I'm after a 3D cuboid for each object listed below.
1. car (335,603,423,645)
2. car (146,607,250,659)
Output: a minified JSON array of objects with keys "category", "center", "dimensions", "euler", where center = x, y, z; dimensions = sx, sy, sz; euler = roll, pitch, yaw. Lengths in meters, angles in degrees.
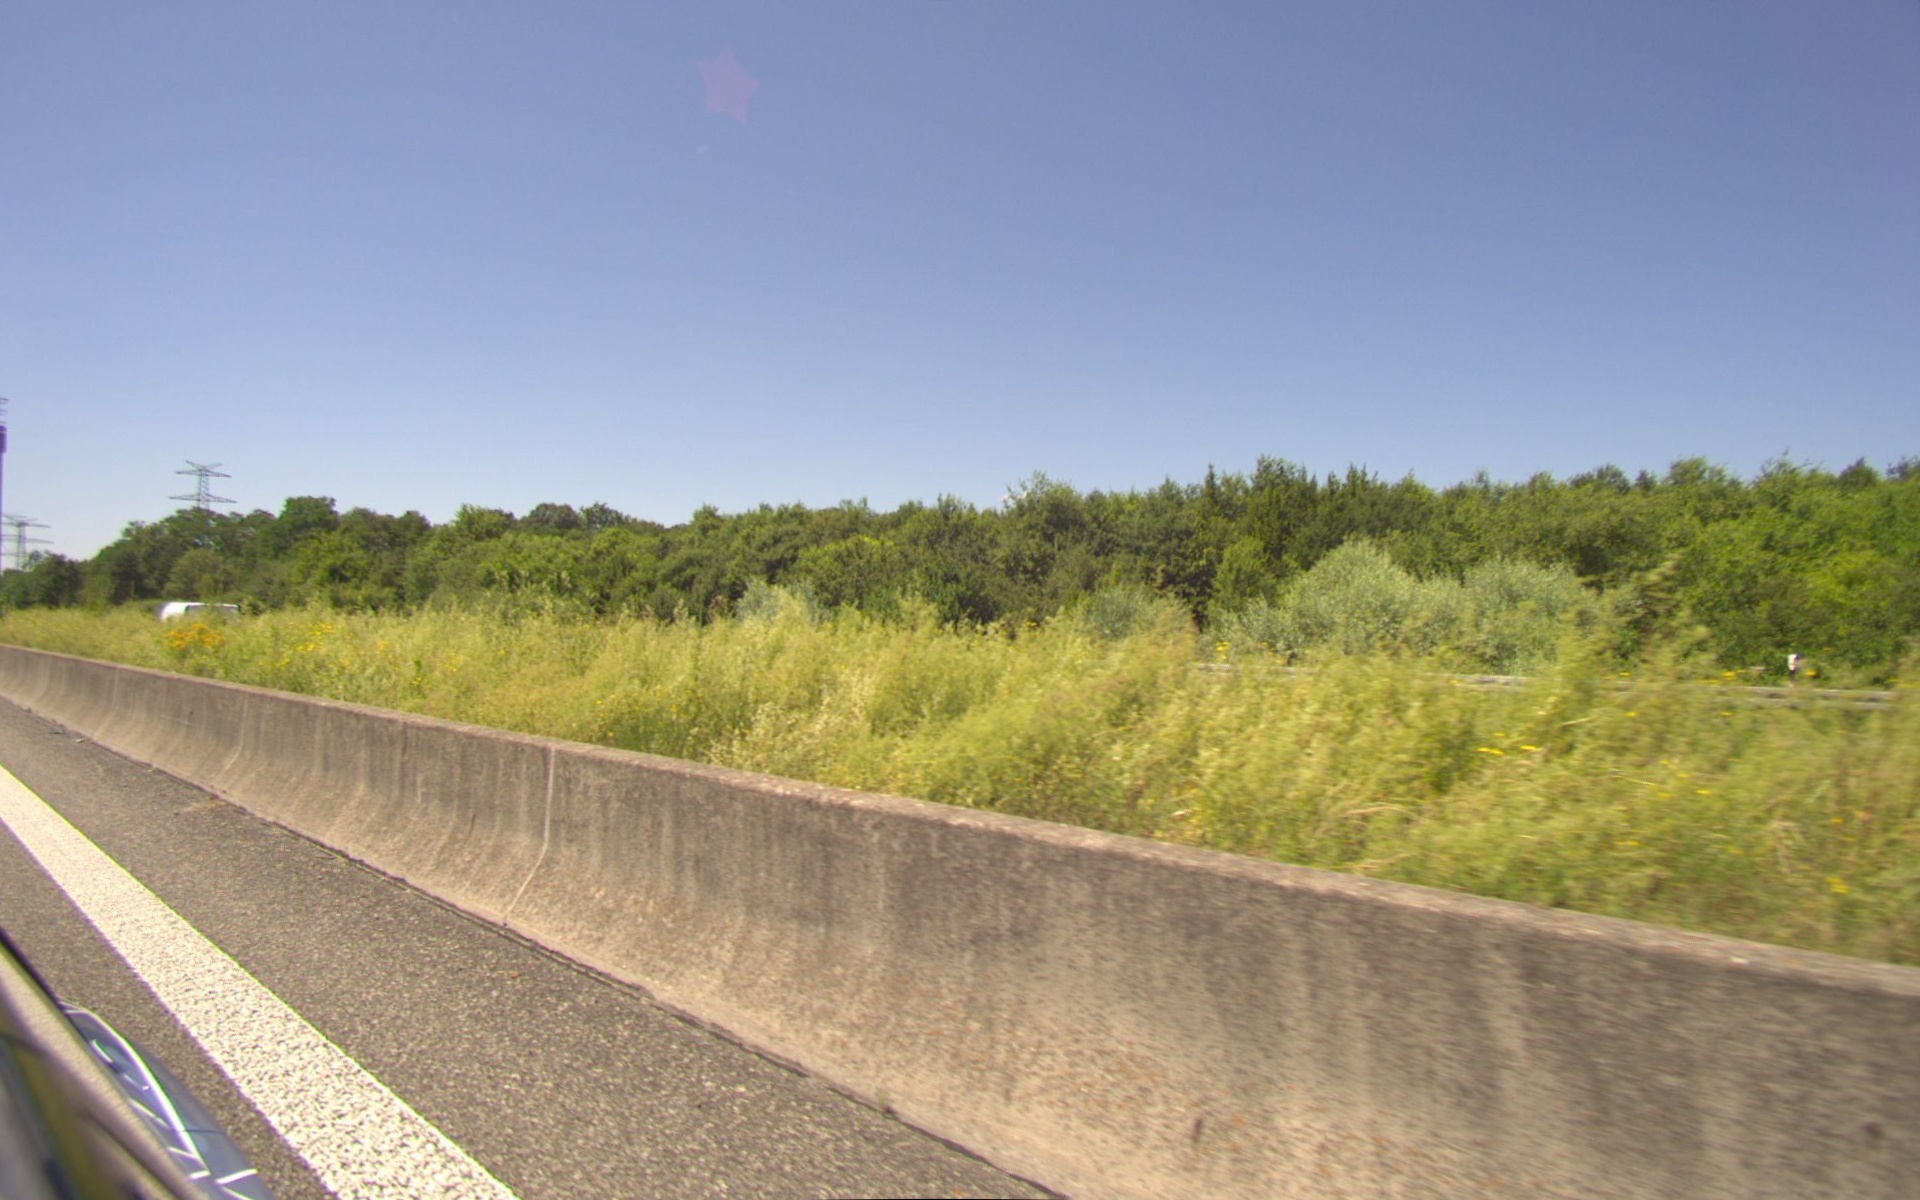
[{"category":"car","center":[-24.907,1.006,43.354],"dimensions":[4.460,1.689,1.941],"euler":[-1,0,41]},{"category":"car","center":[-27.322,1.153,36.224],"dimensions":[5.114,1.733,1.973],"euler":[-1,-2,41]}]
